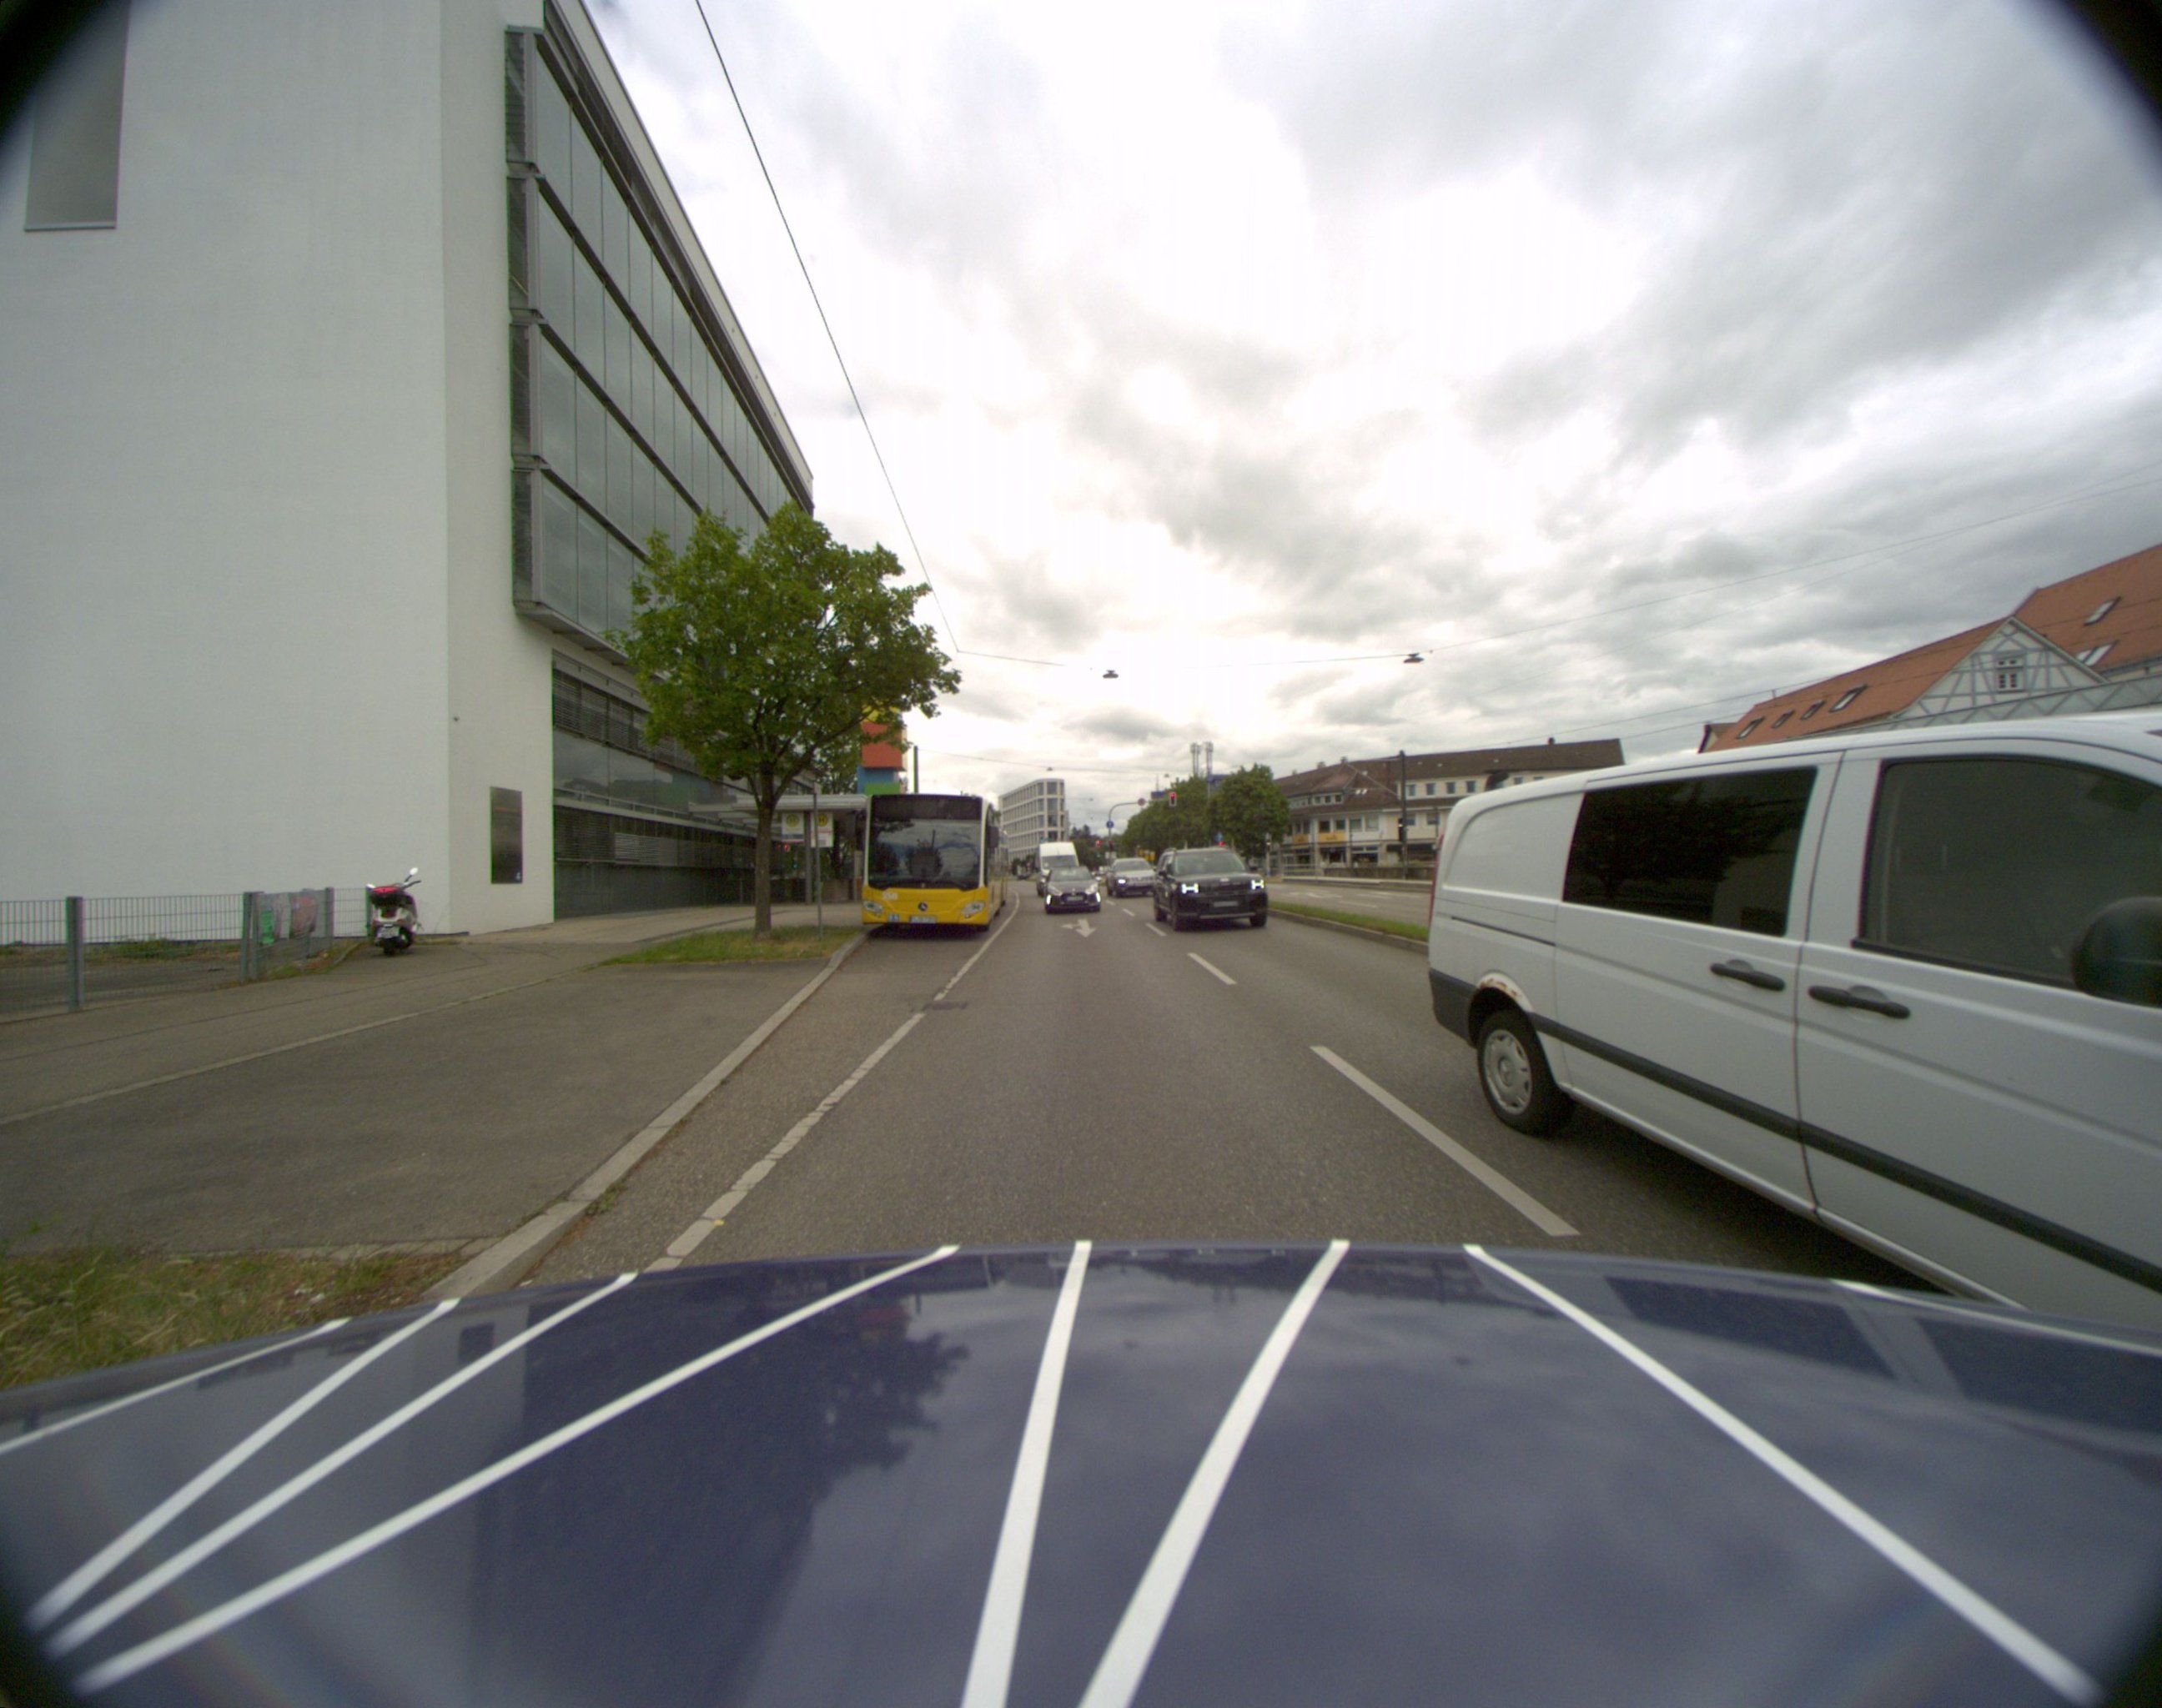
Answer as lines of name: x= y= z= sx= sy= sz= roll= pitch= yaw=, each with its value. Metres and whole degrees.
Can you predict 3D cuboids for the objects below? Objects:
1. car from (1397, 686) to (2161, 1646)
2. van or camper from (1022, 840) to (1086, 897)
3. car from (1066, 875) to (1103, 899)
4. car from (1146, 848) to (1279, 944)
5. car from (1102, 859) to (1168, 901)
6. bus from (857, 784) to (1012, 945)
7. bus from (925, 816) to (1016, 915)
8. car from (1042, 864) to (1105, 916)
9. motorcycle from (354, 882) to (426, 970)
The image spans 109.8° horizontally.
car: x=3.128 y=0.619 z=2.474 sx=1.878 sy=2.001 sz=5.075 roll=-3 pitch=-1 yaw=-1
van or camper: x=-1.543 y=0.745 z=39.596 sx=2.282 sy=2.690 sz=6.989 roll=-1 pitch=-1 yaw=-11
car: x=0.213 y=2.256 z=52.424 sx=2.000 sy=1.503 sz=4.642 roll=-1 pitch=-1 yaw=-7
car: x=2.769 y=0.842 z=17.192 sx=1.927 sy=1.741 sz=4.678 roll=-4 pitch=-1 yaw=-2
car: x=2.276 y=1.078 z=33.118 sx=2.000 sy=1.640 sz=4.391 roll=-3 pitch=0 yaw=-7
bus: x=-3.289 y=0.274 z=19.521 sx=2.720 sy=3.145 sz=9.125 roll=1 pitch=-1 yaw=-3
bus: x=-3.864 y=0.402 z=28.477 sx=2.720 sy=3.090 sz=8.867 roll=-1 pitch=-1 yaw=-4
car: x=-0.188 y=1.111 z=24.771 sx=1.863 sy=1.516 sz=4.001 roll=-1 pitch=-1 yaw=1
motorcycle: x=-10.687 y=1.075 z=11.793 sx=0.585 sy=1.214 sz=1.578 roll=-1 pitch=1 yaw=-34
